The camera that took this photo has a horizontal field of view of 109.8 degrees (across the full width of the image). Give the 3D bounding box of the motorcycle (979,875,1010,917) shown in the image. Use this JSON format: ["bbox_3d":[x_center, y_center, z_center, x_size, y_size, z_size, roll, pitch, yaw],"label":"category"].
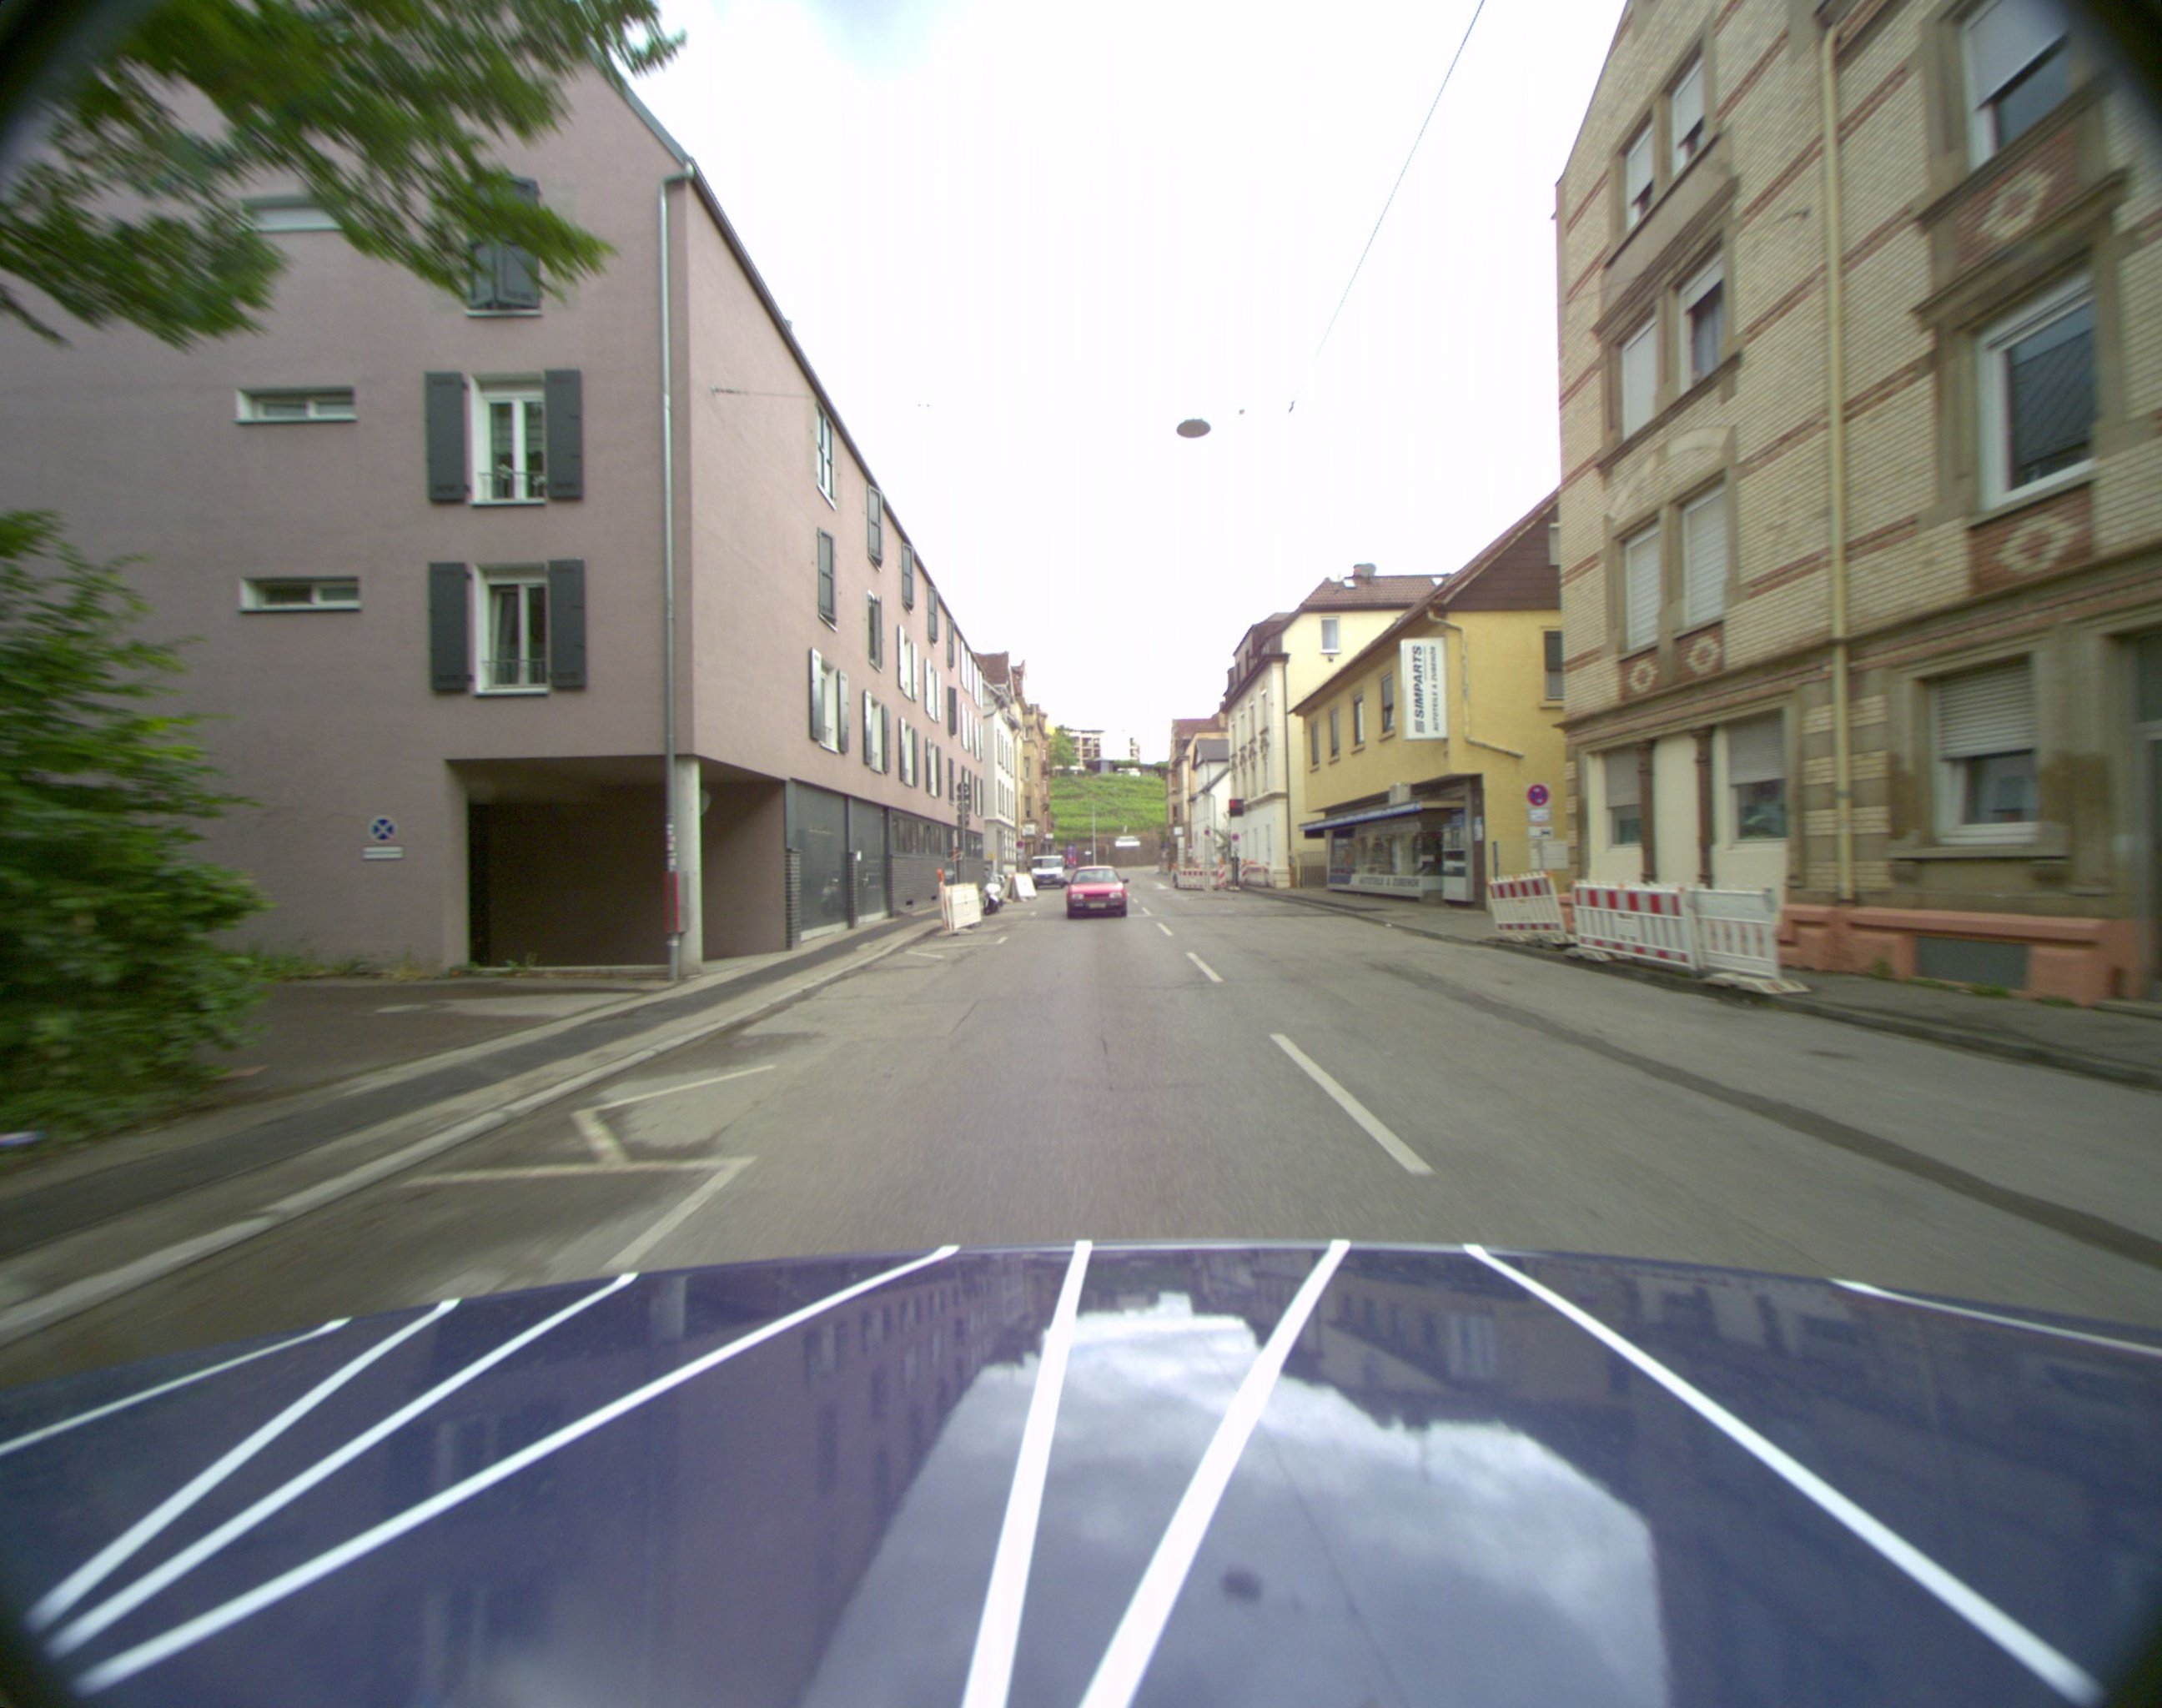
[{"bbox_3d":[-2.755,1.326,24.505,0.648,1.219,2.337,-2,0,1],"label":"motorcycle"}]

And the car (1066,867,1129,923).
[{"bbox_3d":[0.533,1.133,22.197,1.626,1.387,4.001,-1,0,3],"label":"car"}]

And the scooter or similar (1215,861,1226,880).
[{"bbox_3d":[9.942,1.183,54.252,0.561,1.283,1.228,-2,1,1],"label":"scooter or similar"}]

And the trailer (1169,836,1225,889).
[{"bbox_3d":[6.391,0.442,42.596,2.450,2.787,6.304,0,0,3],"label":"trailer"}]

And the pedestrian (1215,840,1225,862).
[{"bbox_3d":[9.891,-0.197,54.128,0.602,1.557,0.607,-2,1,0],"label":"pedestrian"}]

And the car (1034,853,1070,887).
[{"bbox_3d":[-1.750,0.939,47.226,1.998,1.970,4.878,-1,0,0],"label":"car"}]
